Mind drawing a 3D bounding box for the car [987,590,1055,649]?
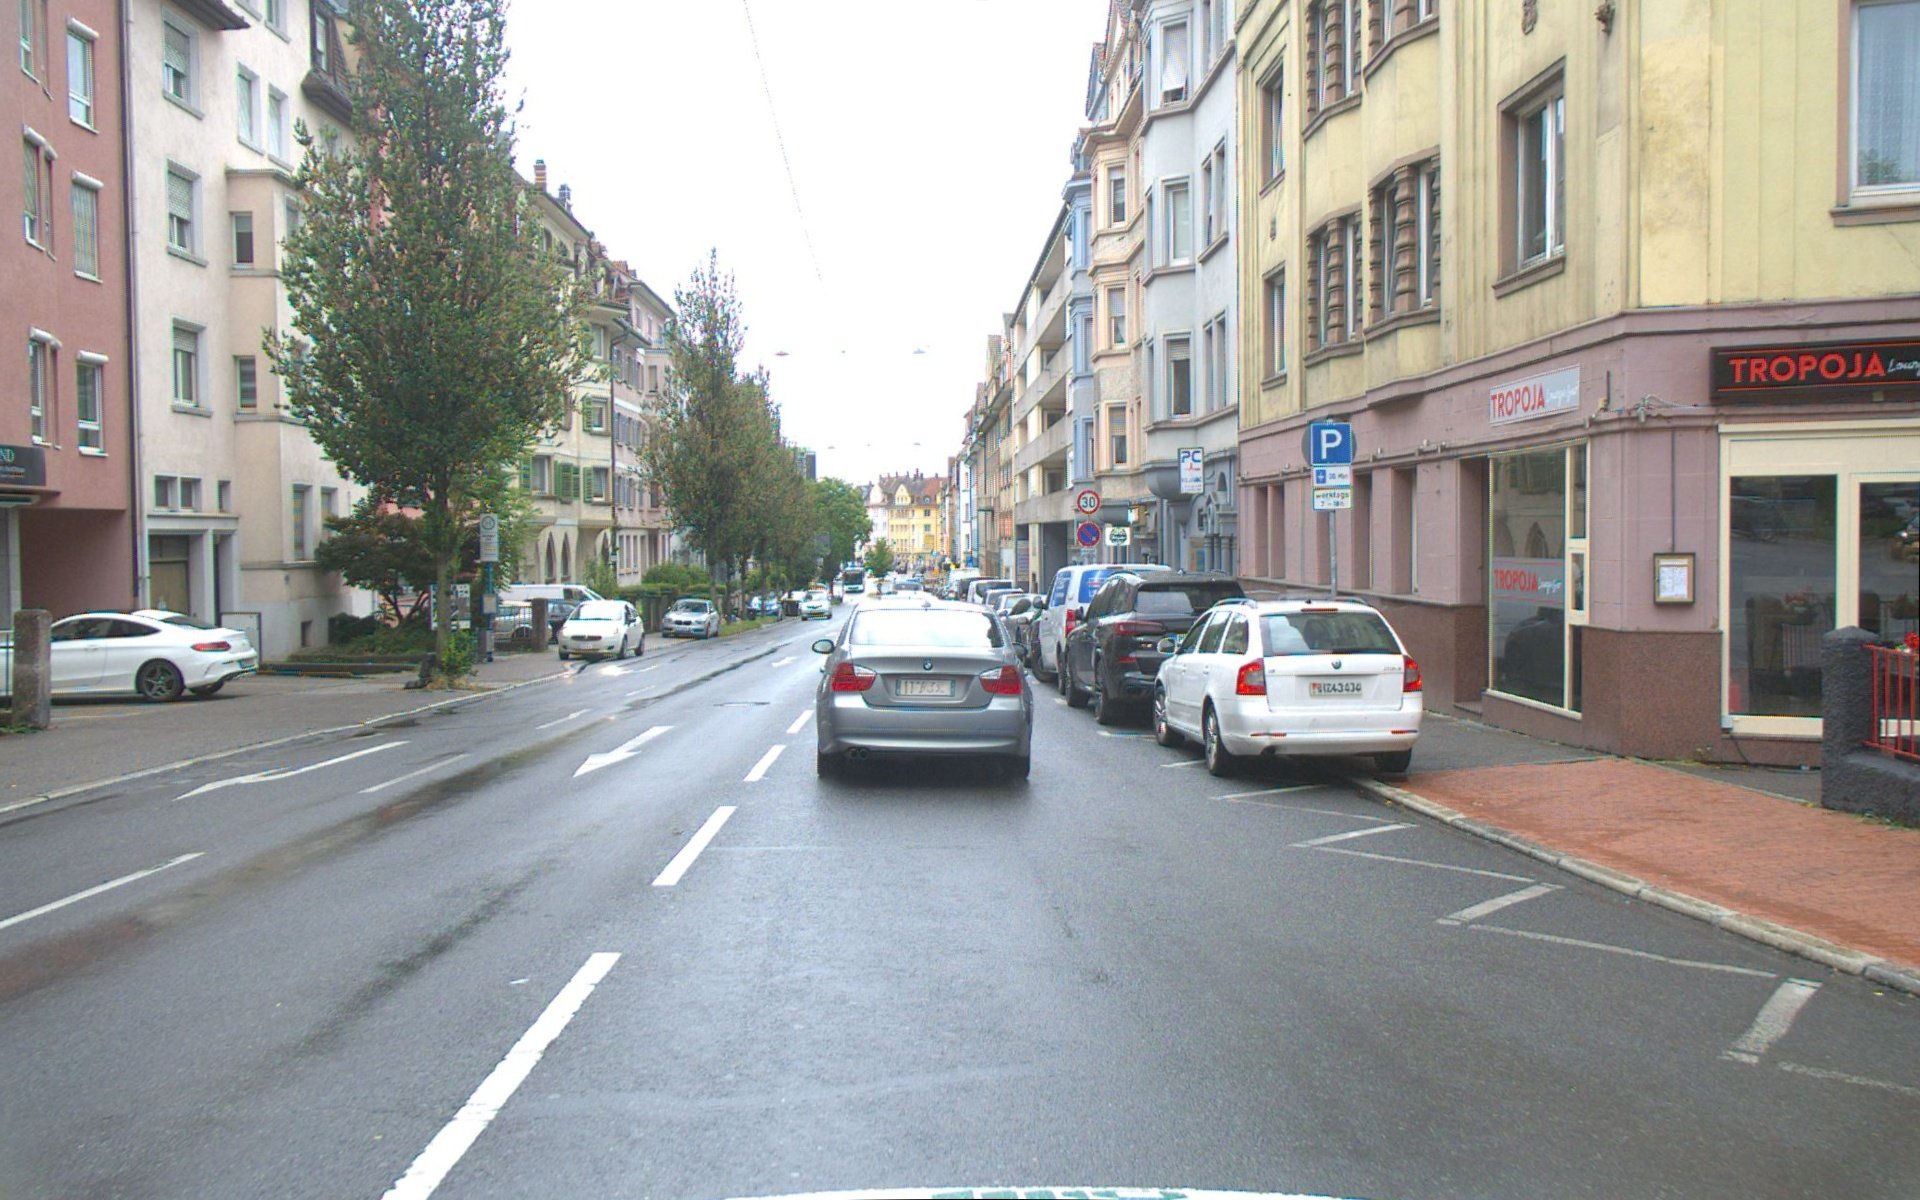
[{"bbox_3d":[1.615,0.503,44.946,1.579,1.500,4.014,1,0,-2],"label":"car"}]

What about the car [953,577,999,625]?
[{"bbox_3d":[0.730,0.030,79.656,1.942,2.203,4.748,-1,0,-2],"label":"car"}]

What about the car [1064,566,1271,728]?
[{"bbox_3d":[2.454,0.511,20.697,1.841,1.762,4.675,1,0,-2],"label":"car"}]

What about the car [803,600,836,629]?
[{"bbox_3d":[-8.073,0.801,95.133,1.603,1.534,3.753,-3,0,-2],"label":"car"}]

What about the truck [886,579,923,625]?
[{"bbox_3d":[-3.098,0.113,91.697,1.991,2.455,4.824,1,0,-3],"label":"truck"}]

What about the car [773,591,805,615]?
[{"bbox_3d":[-11.624,0.204,112.791,1.790,1.550,3.736,-2,0,-1],"label":"car"}]

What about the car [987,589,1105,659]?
[{"bbox_3d":[1.912,0.515,38.147,1.840,1.493,4.766,1,0,-8],"label":"car"}]

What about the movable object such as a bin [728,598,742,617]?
[{"bbox_3d":[-10.711,0.355,78.768,0.565,0.928,0.637,-1,0,-16],"label":"movable object such as a bin"}]

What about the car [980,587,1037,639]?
[{"bbox_3d":[1.671,0.441,58.262,1.691,1.699,4.287,-3,0,-2],"label":"car"}]

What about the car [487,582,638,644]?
[{"bbox_3d":[-13.721,0.435,57.351,4.732,2.008,2.047,-1,0,-2],"label":"car"}]

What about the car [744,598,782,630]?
[{"bbox_3d":[-10.840,0.741,91.171,1.731,1.621,3.998,-2,0,-3],"label":"car"}]

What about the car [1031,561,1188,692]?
[{"bbox_3d":[2.291,0.377,26.656,1.881,1.859,5.007,-1,0,-2],"label":"car"}]

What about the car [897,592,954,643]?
[{"bbox_3d":[-1.093,0.531,51.425,1.663,1.509,3.791,1,0,-3],"label":"car"}]

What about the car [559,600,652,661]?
[{"bbox_3d":[-9.184,0.749,43.069,1.588,1.471,4.004,-1,0,-1],"label":"car"}]

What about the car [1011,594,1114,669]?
[{"bbox_3d":[1.988,0.586,33.114,1.643,1.399,4.274,0,0,-2],"label":"car"}]

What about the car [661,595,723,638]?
[{"bbox_3d":[-10.093,0.613,62.555,1.691,1.509,3.988,2,0,-1],"label":"car"}]

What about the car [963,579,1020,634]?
[{"bbox_3d":[1.193,0.248,65.054,1.942,2.042,4.623,-1,0,-2],"label":"car"}]

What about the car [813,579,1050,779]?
[{"bbox_3d":[-0.285,0.618,14.124,1.734,1.453,3.738,1,-1,-3],"label":"car"}]

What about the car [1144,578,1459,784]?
[{"bbox_3d":[2.953,0.635,15.301,1.763,1.592,4.490,1,0,-3],"label":"car"}]

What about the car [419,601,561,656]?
[{"bbox_3d":[-13.892,0.829,49.087,3.810,1.483,1.788,-2,0,-10],"label":"car"}]

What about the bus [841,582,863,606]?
[{"bbox_3d":[-14.383,-0.841,220.518,2.615,3.077,7.667,-1,0,-2],"label":"bus"}]

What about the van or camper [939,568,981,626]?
[{"bbox_3d":[0.045,-0.170,90.135,1.991,2.918,6.887,2,0,2],"label":"van or camper"}]

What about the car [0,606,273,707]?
[{"bbox_3d":[-13.516,0.883,26.207,4.456,1.425,1.767,-2,0,-2],"label":"car"}]

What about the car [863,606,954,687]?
[{"bbox_3d":[-0.969,0.870,32.311,1.647,1.453,3.740,1,0,-1],"label":"car"}]
